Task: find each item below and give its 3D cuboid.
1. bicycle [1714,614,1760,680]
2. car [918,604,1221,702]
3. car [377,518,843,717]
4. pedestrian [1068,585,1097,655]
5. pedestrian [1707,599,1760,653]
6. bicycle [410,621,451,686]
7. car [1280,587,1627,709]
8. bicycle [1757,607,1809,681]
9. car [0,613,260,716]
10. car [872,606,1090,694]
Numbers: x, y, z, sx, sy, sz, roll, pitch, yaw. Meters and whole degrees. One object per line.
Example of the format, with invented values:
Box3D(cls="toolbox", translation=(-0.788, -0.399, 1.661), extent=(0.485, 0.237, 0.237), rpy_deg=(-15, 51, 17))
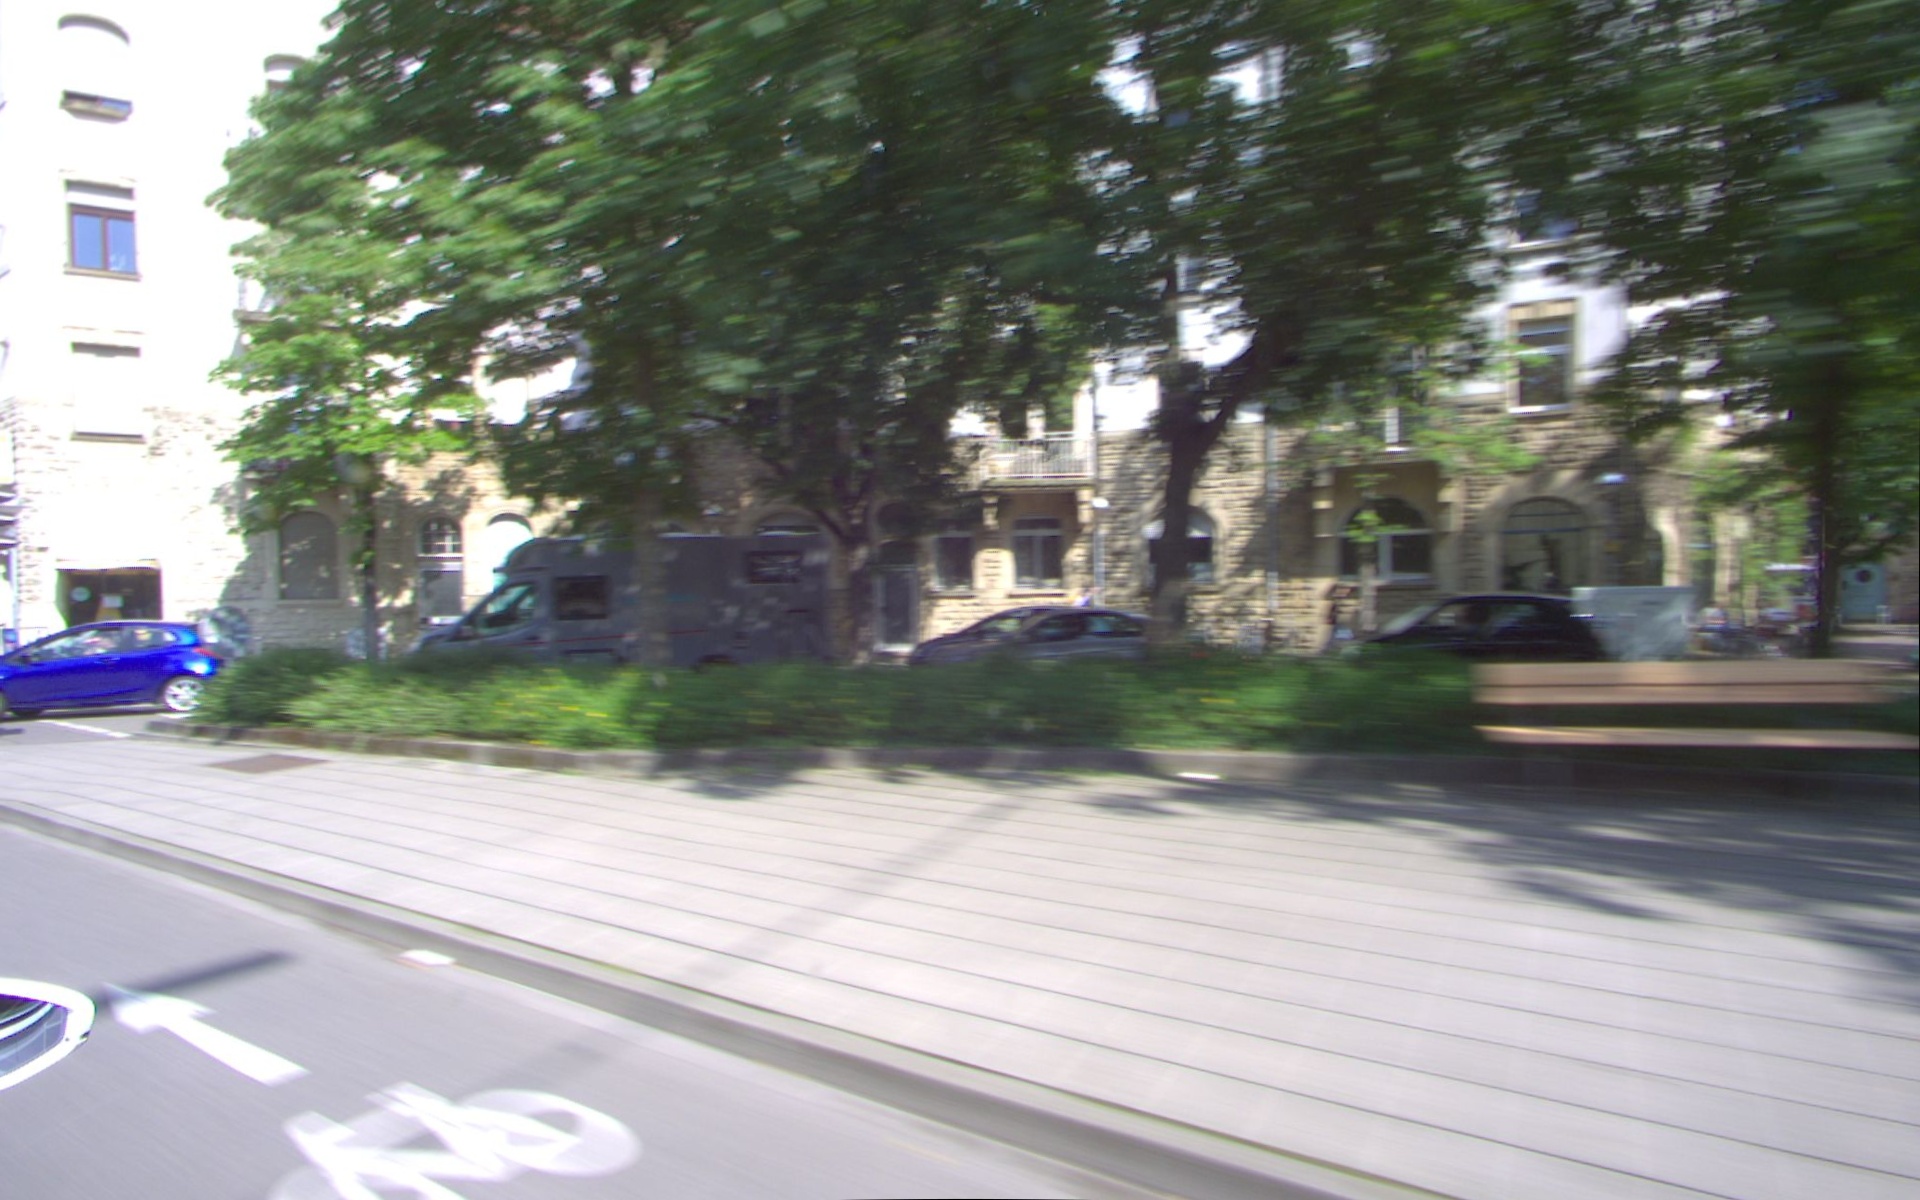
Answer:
Box3D(cls="bicycle", translation=(13.427, 0.785, 17.324), extent=(0.591, 1.045, 1.963), rpy_deg=(0, 1, 37))
Box3D(cls="car", translation=(1.713, 0.785, 15.563), extent=(4.401, 1.388, 1.836), rpy_deg=(-1, 0, 11))
Box3D(cls="car", translation=(-5.155, 0.232, 15.835), extent=(6.546, 2.832, 2.390), rpy_deg=(0, 2, -7))
Box3D(cls="pedestrian", translation=(2.955, 0.471, 24.152), extent=(0.639, 1.663, 0.550), rpy_deg=(-1, 1, 2))
Box3D(cls="pedestrian", translation=(18.027, 0.596, 23.344), extent=(0.674, 1.215, 0.840), rpy_deg=(-1, 1, -36))
Box3D(cls="bicycle", translation=(-10.916, 1.073, 20.696), extent=(0.578, 1.225, 1.966), rpy_deg=(0, 0, -23))
Box3D(cls="car", translation=(6.635, 0.626, 13.986), extent=(4.111, 1.521, 1.844), rpy_deg=(-1, 0, 18))
Box3D(cls="bicycle", translation=(13.982, 0.711, 17.035), extent=(0.591, 1.158, 1.963), rpy_deg=(0, 1, 37))
Box3D(cls="car", translation=(-13.609, 0.968, 15.704), extent=(3.934, 1.438, 1.886), rpy_deg=(-1, 0, -23))
Box3D(cls="car", translation=(0.450, 0.927, 19.025), extent=(3.913, 1.560, 1.727), rpy_deg=(-1, 0, 10))
